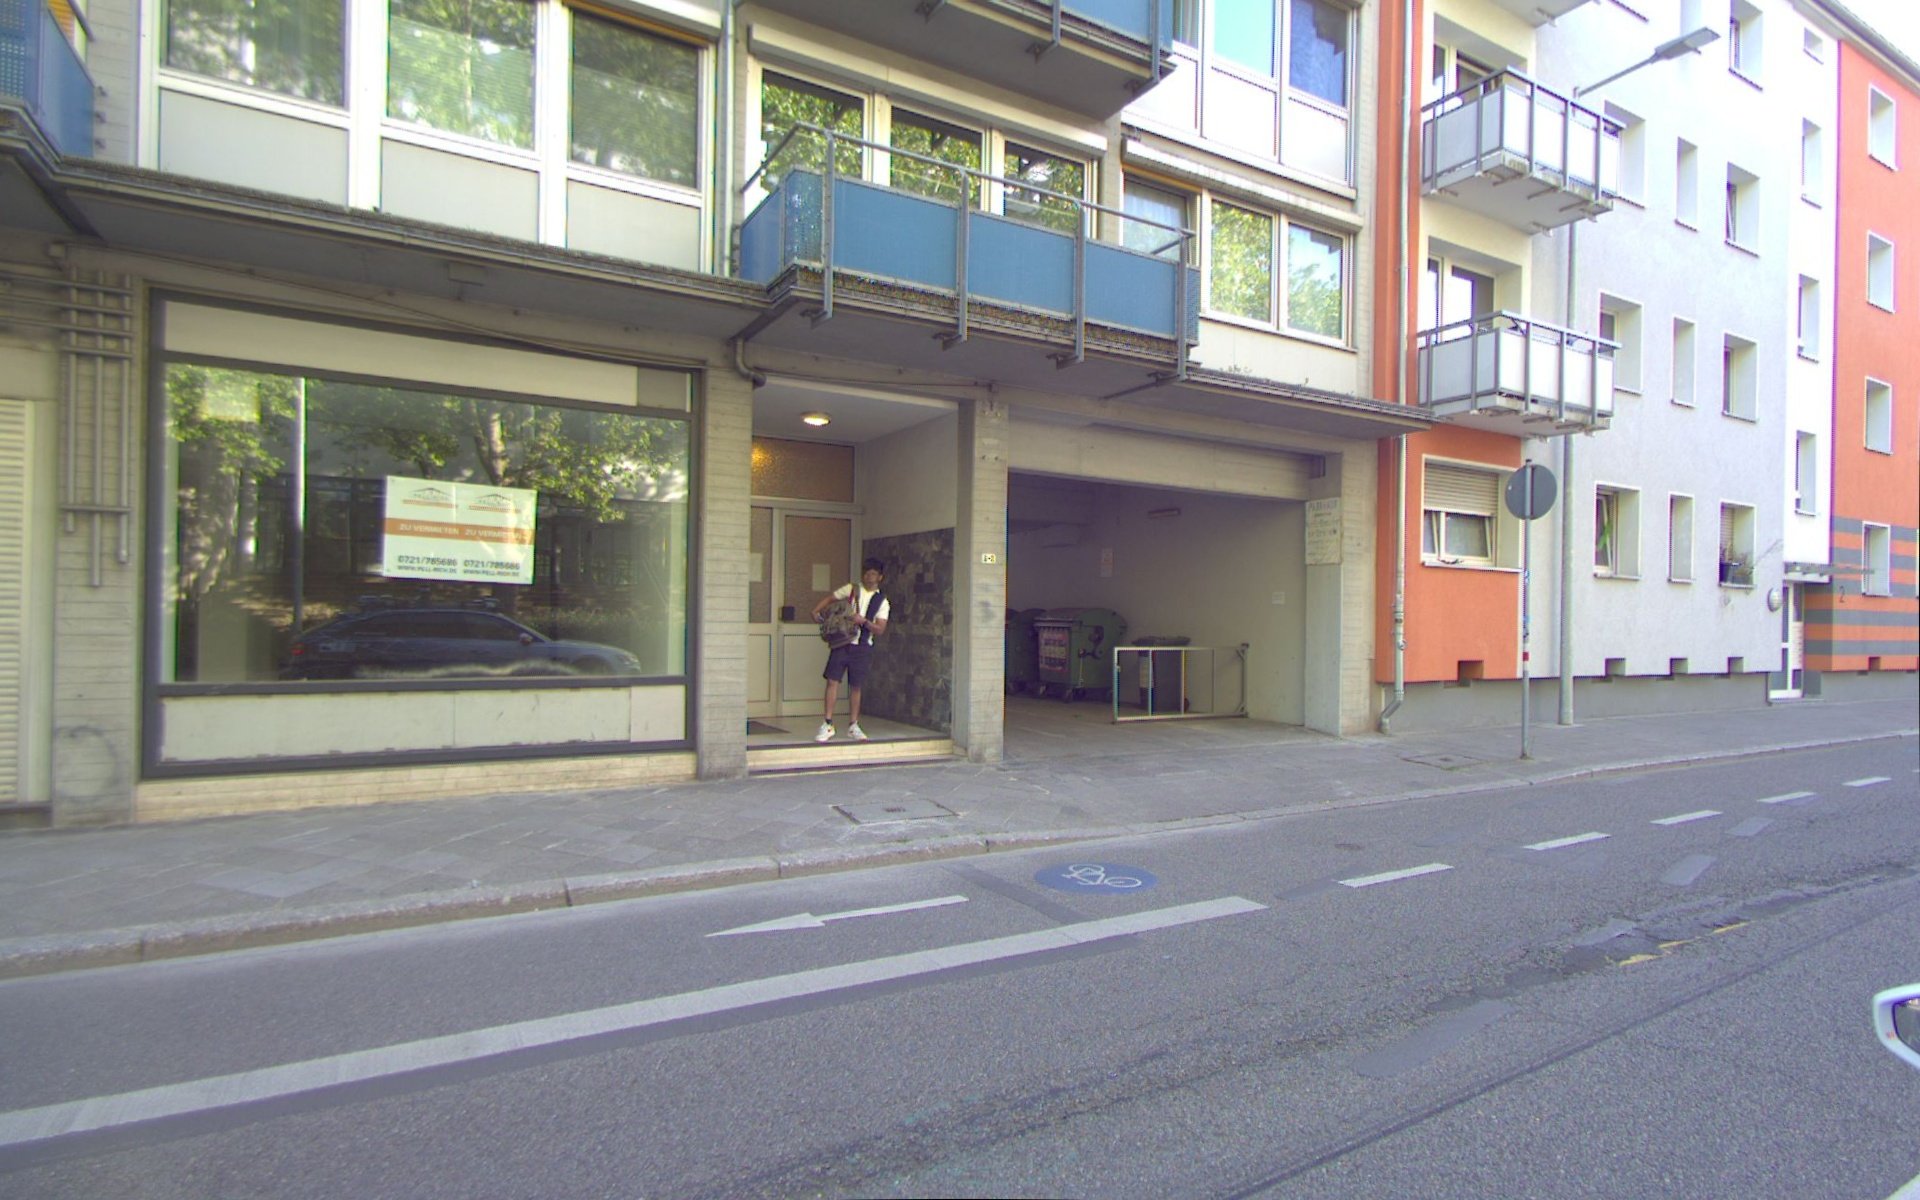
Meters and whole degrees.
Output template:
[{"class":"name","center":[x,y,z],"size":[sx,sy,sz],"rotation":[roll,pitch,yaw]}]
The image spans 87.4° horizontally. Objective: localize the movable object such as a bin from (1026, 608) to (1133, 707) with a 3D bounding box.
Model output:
[{"class":"movable object such as a bin","center":[1.864,0.879,15.816],"size":[1.120,1.444,1.268],"rotation":[2,0,-28]}]

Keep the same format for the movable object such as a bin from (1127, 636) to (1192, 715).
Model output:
[{"class":"movable object such as a bin","center":[2.876,1.078,14.492],"size":[0.713,1.094,0.533],"rotation":[2,0,-29]}]

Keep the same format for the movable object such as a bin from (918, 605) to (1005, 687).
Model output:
[{"class":"movable object such as a bin","center":[0.019,0.837,18.702],"size":[1.120,1.444,1.268],"rotation":[2,0,-28]}]

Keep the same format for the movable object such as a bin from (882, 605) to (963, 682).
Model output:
[{"class":"movable object such as a bin","center":[-0.753,0.841,19.793],"size":[1.120,1.444,1.268],"rotation":[2,0,-28]}]

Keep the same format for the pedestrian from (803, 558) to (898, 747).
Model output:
[{"class":"pedestrian","center":[-0.993,0.462,9.227],"size":[0.778,1.639,0.836],"rotation":[2,0,-5]}]

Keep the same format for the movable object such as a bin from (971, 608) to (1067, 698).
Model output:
[{"class":"movable object such as a bin","center":[0.996,0.881,17.157],"size":[1.120,1.444,1.268],"rotation":[2,0,-28]}]
